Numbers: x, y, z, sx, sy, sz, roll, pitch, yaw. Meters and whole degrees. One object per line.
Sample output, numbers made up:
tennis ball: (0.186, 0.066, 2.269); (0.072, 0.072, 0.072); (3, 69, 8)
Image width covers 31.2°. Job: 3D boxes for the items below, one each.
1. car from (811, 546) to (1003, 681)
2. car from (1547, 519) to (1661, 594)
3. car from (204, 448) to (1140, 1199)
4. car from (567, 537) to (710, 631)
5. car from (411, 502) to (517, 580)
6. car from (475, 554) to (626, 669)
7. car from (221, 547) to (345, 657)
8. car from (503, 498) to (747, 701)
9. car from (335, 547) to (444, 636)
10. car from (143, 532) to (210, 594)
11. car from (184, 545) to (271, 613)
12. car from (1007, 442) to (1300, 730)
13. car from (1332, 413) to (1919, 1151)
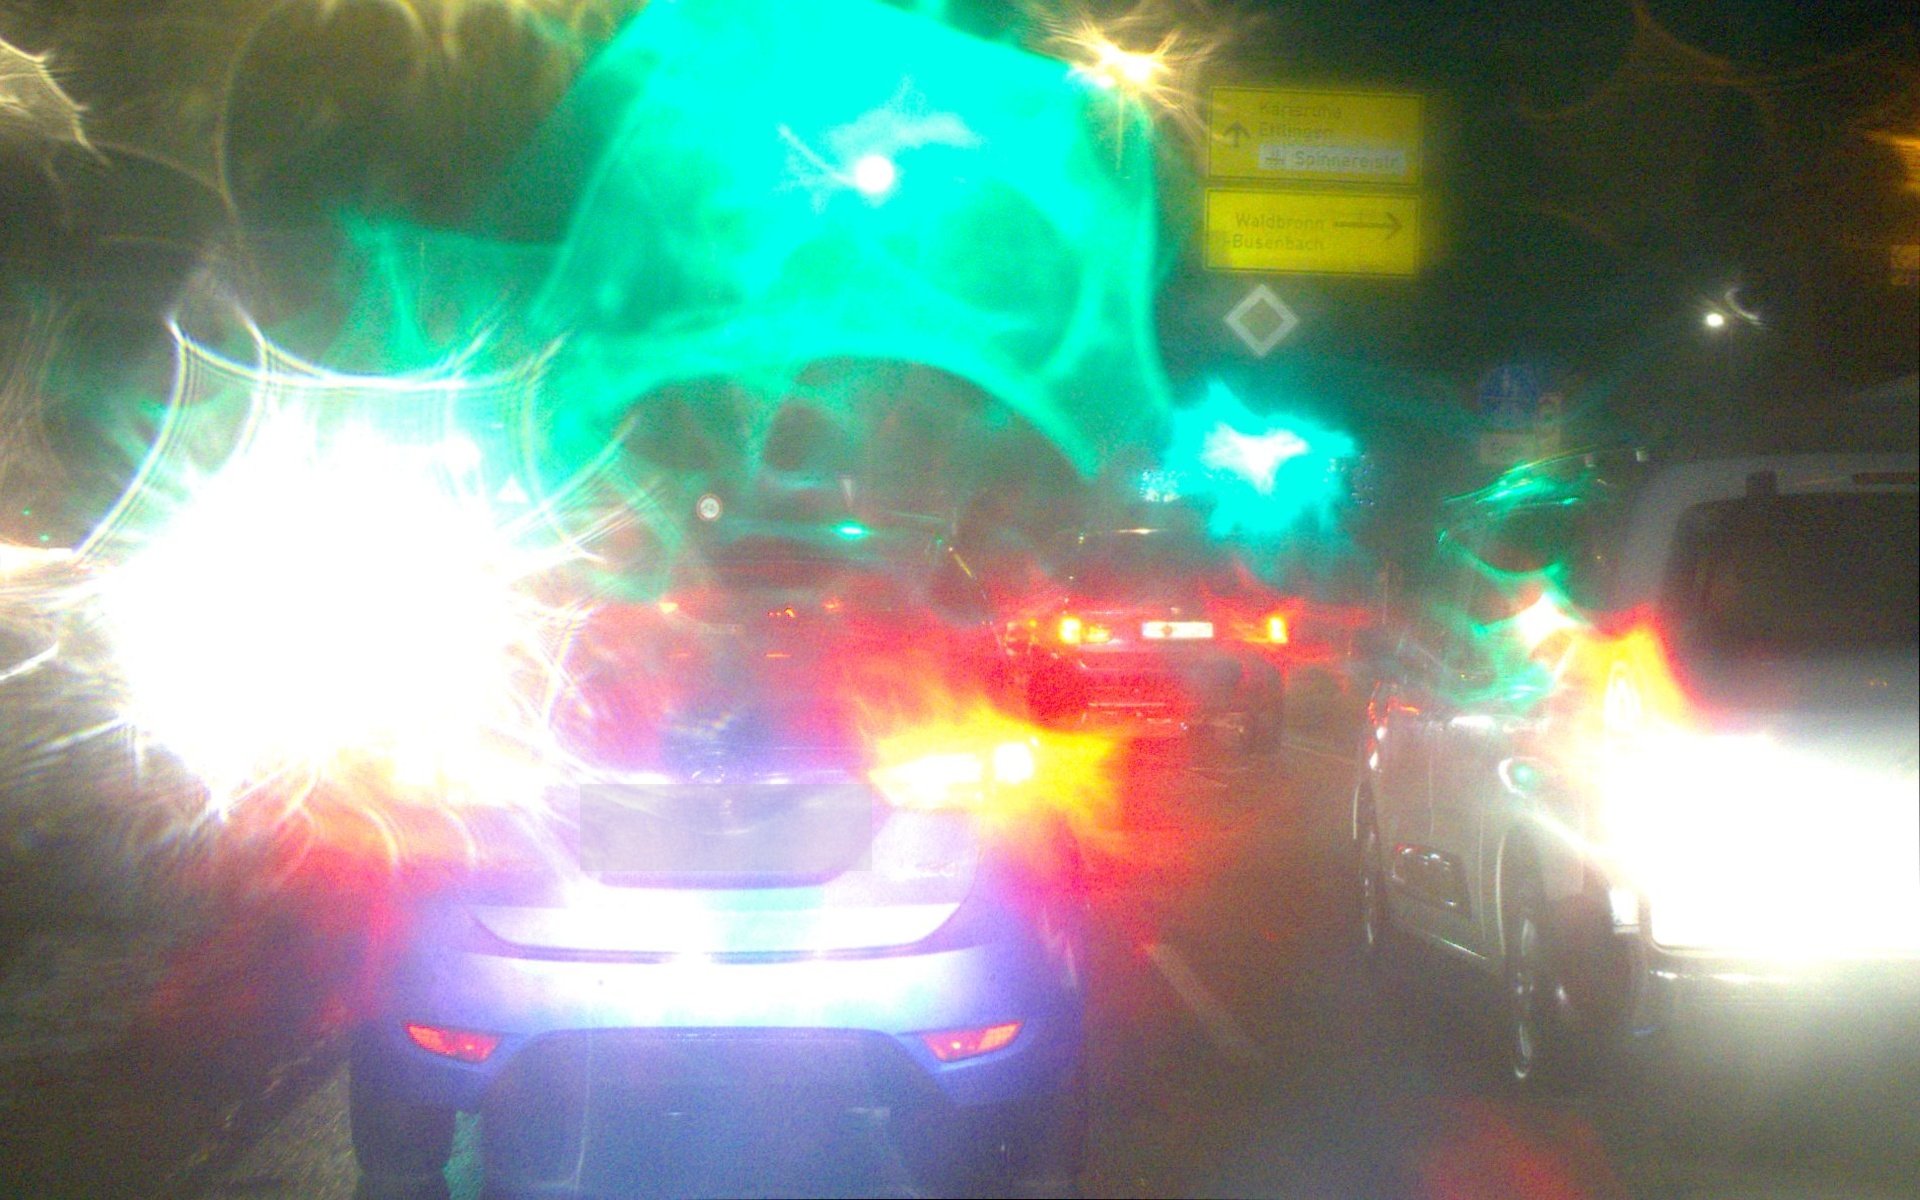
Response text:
car: (-0.769, 0.148, 46.398); (1.993, 1.712, 4.001); (1, 1, -9)
car: (14.993, -1.015, 80.224); (1.865, 1.641, 3.963); (-2, 1, 0)
car: (-0.817, 0.518, 9.752); (2.014, 1.711, 4.452); (1, 1, -5)
car: (-5.988, -0.316, 63.575); (1.993, 1.664, 4.001); (1, 1, -15)
car: (-12.089, -1.429, 83.613); (1.993, 1.814, 4.001); (1, 1, -16)
car: (-6.599, 0.155, 55.105); (1.993, 1.726, 4.001); (1, 1, -12)
car: (-12.904, 0.010, 65.351); (2.014, 1.880, 4.453); (1, 2, -15)
car: (-3.611, -0.025, 36.421); (1.993, 2.007, 4.001); (1, 1, -14)
car: (-12.226, -0.197, 73.491); (1.993, 1.818, 4.001); (1, 1, -14)
car: (-26.207, -1.239, 114.884); (1.993, 2.007, 4.001); (1, 1, -15)
car: (-20.358, -0.591, 95.428); (1.993, 1.818, 4.001); (1, 1, -17)
car: (1.425, -0.122, 26.782); (1.968, 2.040, 4.000); (1, 1, -1)
car: (2.387, 0.448, 10.911); (1.851, 1.858, 4.341); (1, 1, -1)
